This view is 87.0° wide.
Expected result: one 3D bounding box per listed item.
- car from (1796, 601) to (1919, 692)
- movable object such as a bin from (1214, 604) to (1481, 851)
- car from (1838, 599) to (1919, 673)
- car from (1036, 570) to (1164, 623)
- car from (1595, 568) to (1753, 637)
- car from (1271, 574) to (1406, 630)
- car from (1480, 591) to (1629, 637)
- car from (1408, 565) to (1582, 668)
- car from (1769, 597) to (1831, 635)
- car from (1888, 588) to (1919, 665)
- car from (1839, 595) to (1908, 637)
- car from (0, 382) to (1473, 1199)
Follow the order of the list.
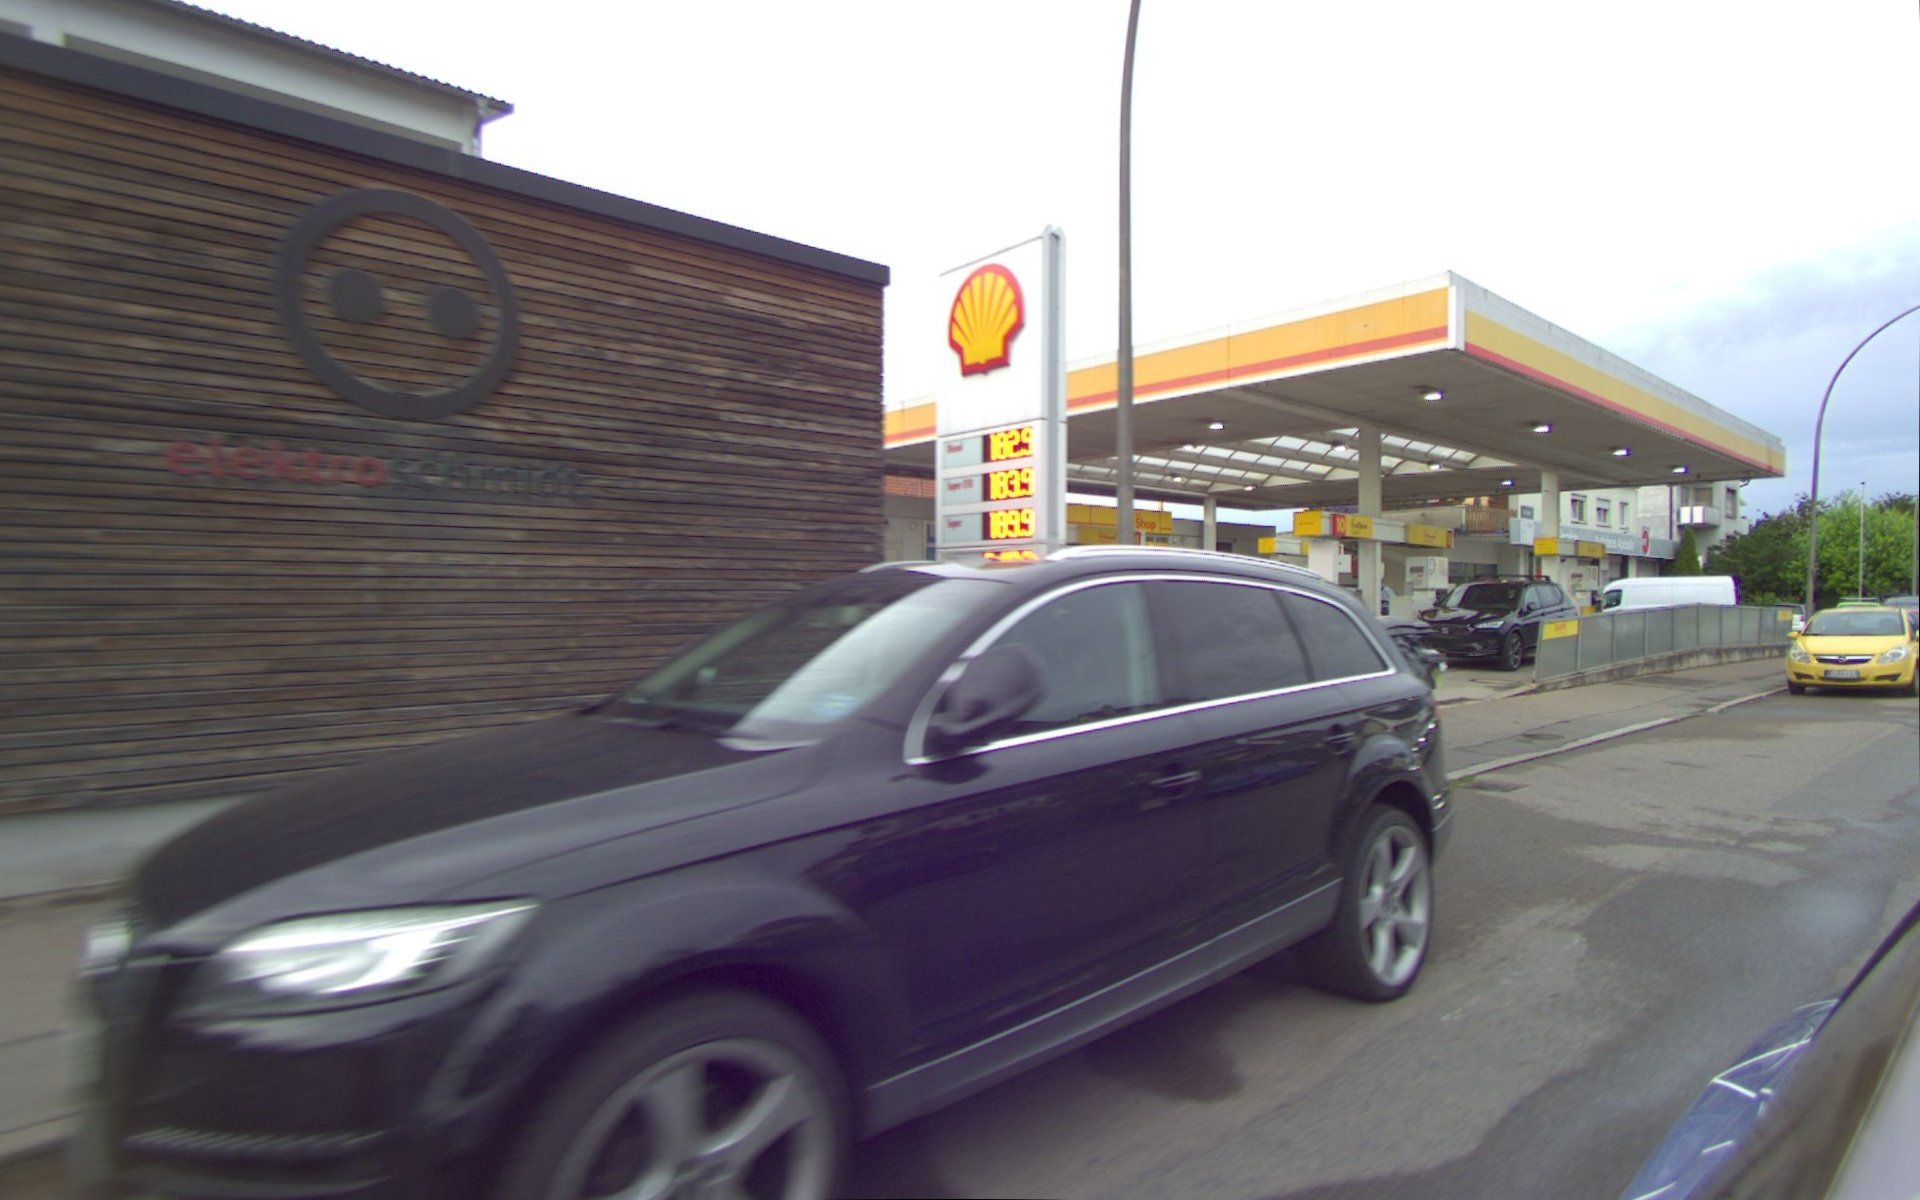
[{"bbox_3d":[16.012,0.734,17.643,3.735,1.419,1.659,0,0,-41],"label":"car"},{"bbox_3d":[2.592,0.735,6.736,1.478,1.406,1.128,0,0,-43],"label":"movable object such as a bin"},{"bbox_3d":[19.450,0.683,20.761,3.954,1.394,1.659,0,0,-41],"label":"car"},{"bbox_3d":[4.157,-0.091,29.840,3.714,1.484,1.743,1,0,-41],"label":"car"},{"bbox_3d":[27.732,0.082,39.555,4.760,2.553,2.225,0,0,28],"label":"car"},{"bbox_3d":[11.044,0.060,29.363,4.591,1.484,1.743,1,0,-41],"label":"car"},{"bbox_3d":[21.923,0.507,37.455,4.282,1.662,1.998,0,0,3],"label":"car"},{"bbox_3d":[10.574,0.274,19.890,3.933,1.781,1.822,0,2,-43],"label":"car"},{"bbox_3d":[38.187,0.717,45.982,3.671,1.538,1.749,1,3,-45],"label":"car"},{"bbox_3d":[23.906,0.596,24.458,4.367,1.761,1.658,0,-2,-41],"label":"car"},{"bbox_3d":[38.633,0.659,42.776,1.994,1.704,3.935,0,0,45],"label":"car"},{"bbox_3d":[-0.223,0.619,3.544,4.479,1.683,2.094,1,-2,-41],"label":"car"}]
